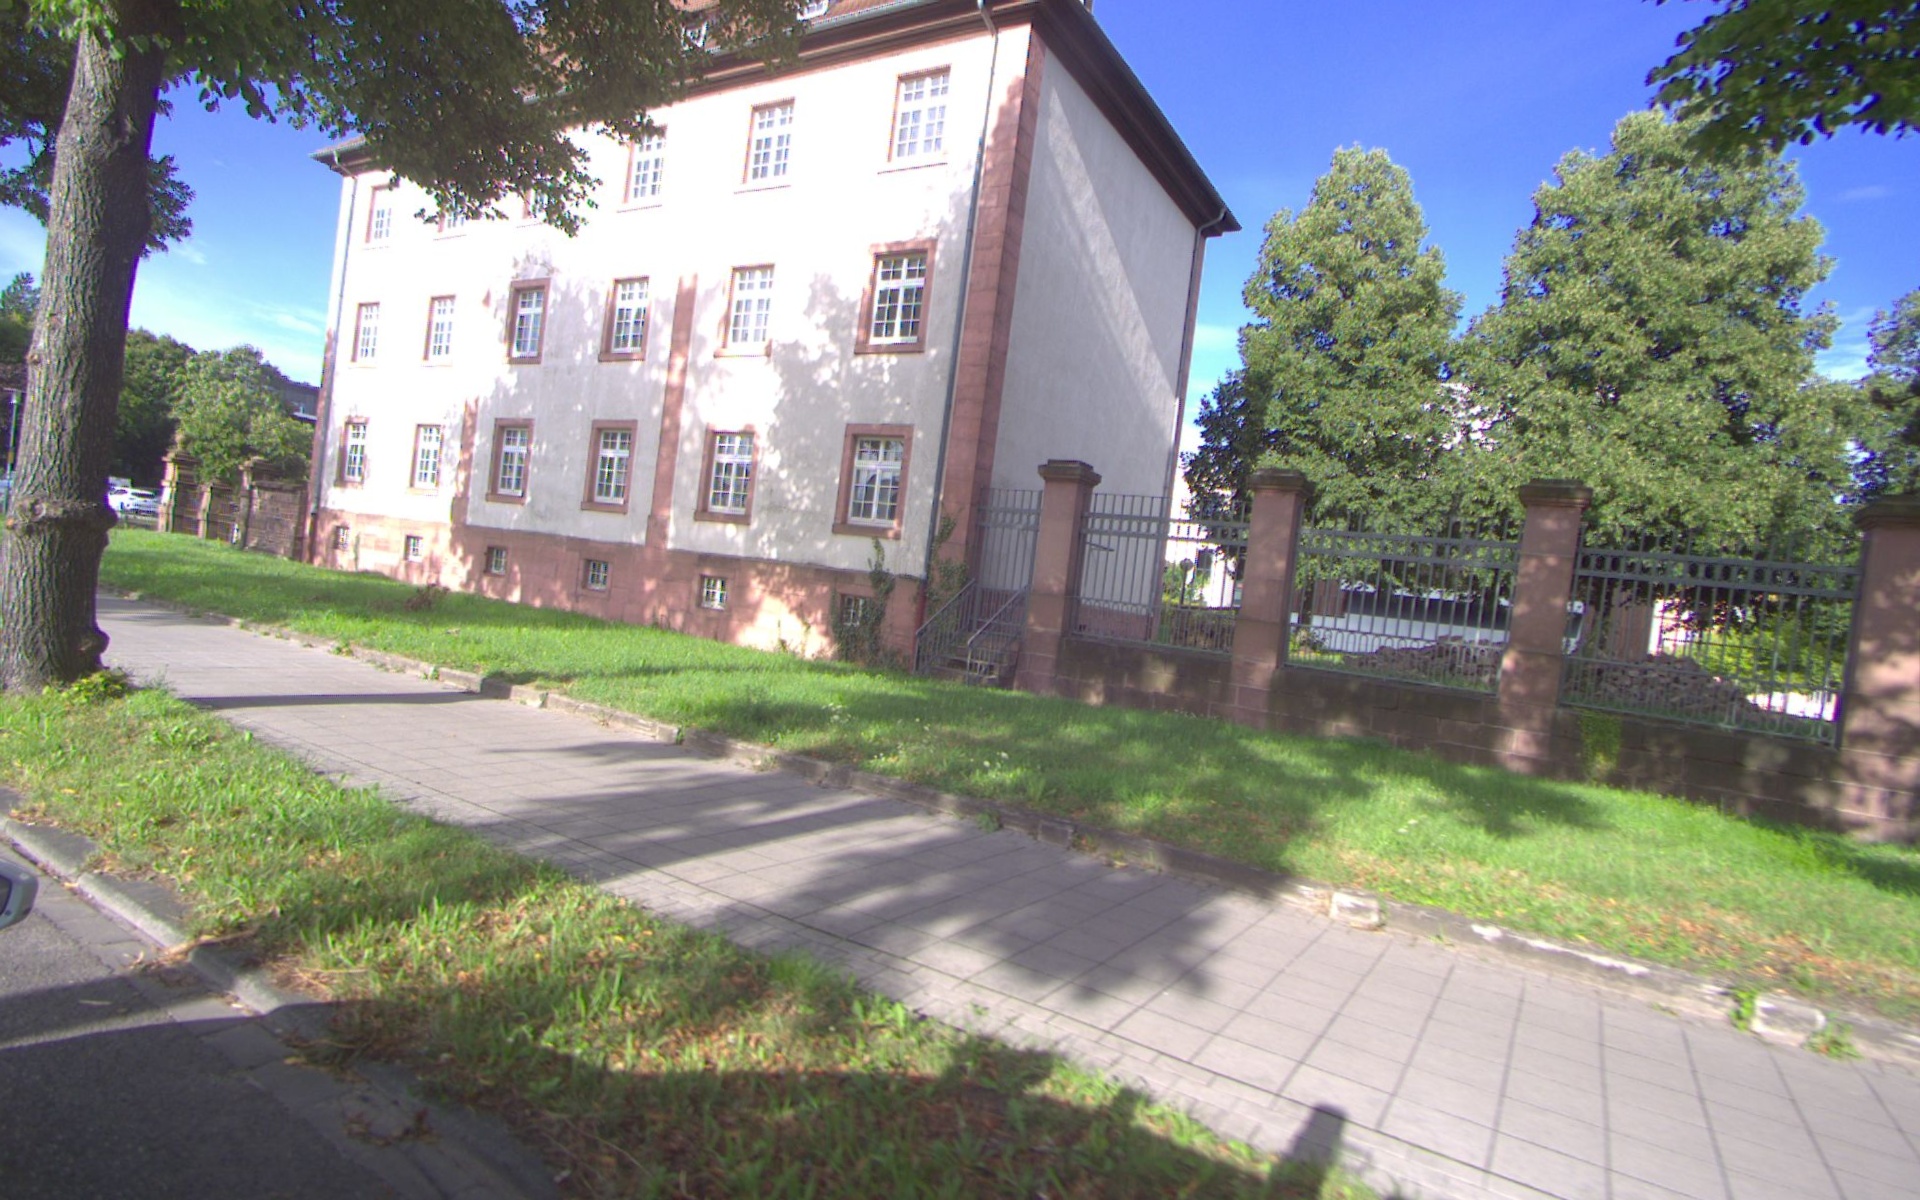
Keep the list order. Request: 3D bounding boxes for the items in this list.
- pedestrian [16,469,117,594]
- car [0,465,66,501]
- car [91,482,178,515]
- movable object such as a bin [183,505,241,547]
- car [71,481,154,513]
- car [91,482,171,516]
[{"bbox_3d":[-12.348,-0.941,13.911,0.756,1.612,0.814,7,3,31],"label":"pedestrian"},{"bbox_3d":[-50.638,-6.381,54.552,3.932,1.460,1.996,8,1,29],"label":"car"},{"bbox_3d":[-55.316,-6.794,67.484,1.966,1.505,3.991,8,1,31],"label":"car"},{"bbox_3d":[-26.453,-2.624,35.590,1.074,1.246,1.193,7,0,29],"label":"movable object such as a bin"},{"bbox_3d":[-59.353,-7.214,70.503,1.966,1.571,3.991,8,1,31],"label":"car"},{"bbox_3d":[-47.990,-5.846,58.224,3.928,1.460,1.998,7,1,25],"label":"car"}]
